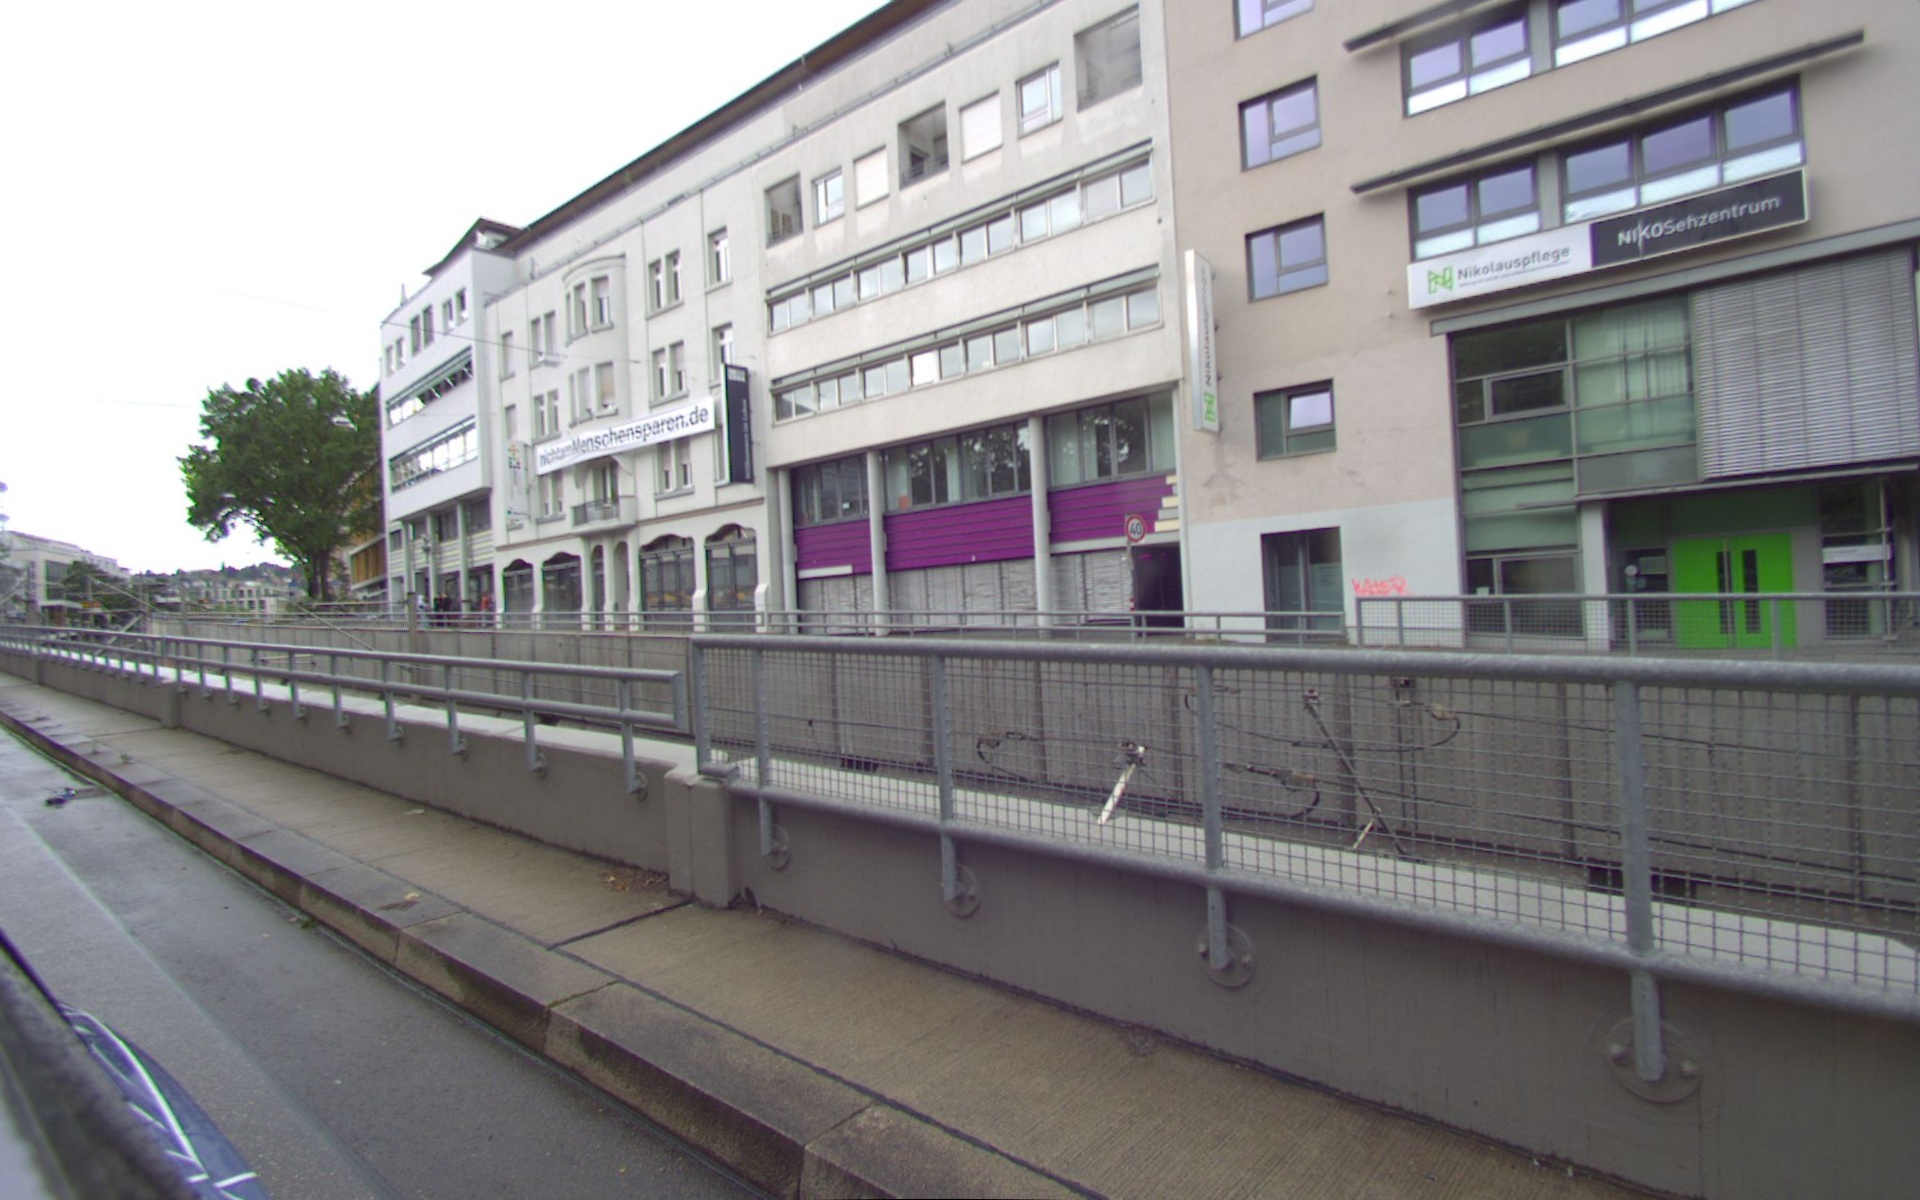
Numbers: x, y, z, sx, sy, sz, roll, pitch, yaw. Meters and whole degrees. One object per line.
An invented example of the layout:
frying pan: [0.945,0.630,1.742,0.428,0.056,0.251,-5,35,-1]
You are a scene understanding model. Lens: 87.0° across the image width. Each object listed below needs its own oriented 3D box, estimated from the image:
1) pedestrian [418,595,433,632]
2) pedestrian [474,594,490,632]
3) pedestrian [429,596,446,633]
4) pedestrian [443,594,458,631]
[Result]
pedestrian: [-26.671,0.676,50.481,0.463,1.816,0.548,-3,1,-42]
pedestrian: [-23.023,0.635,48.755,0.547,1.816,0.464,-1,1,40]
pedestrian: [-26.428,0.732,51.226,0.469,1.816,0.541,-2,1,33]
pedestrian: [-25.414,0.633,50.478,0.547,1.816,0.463,-2,1,44]
